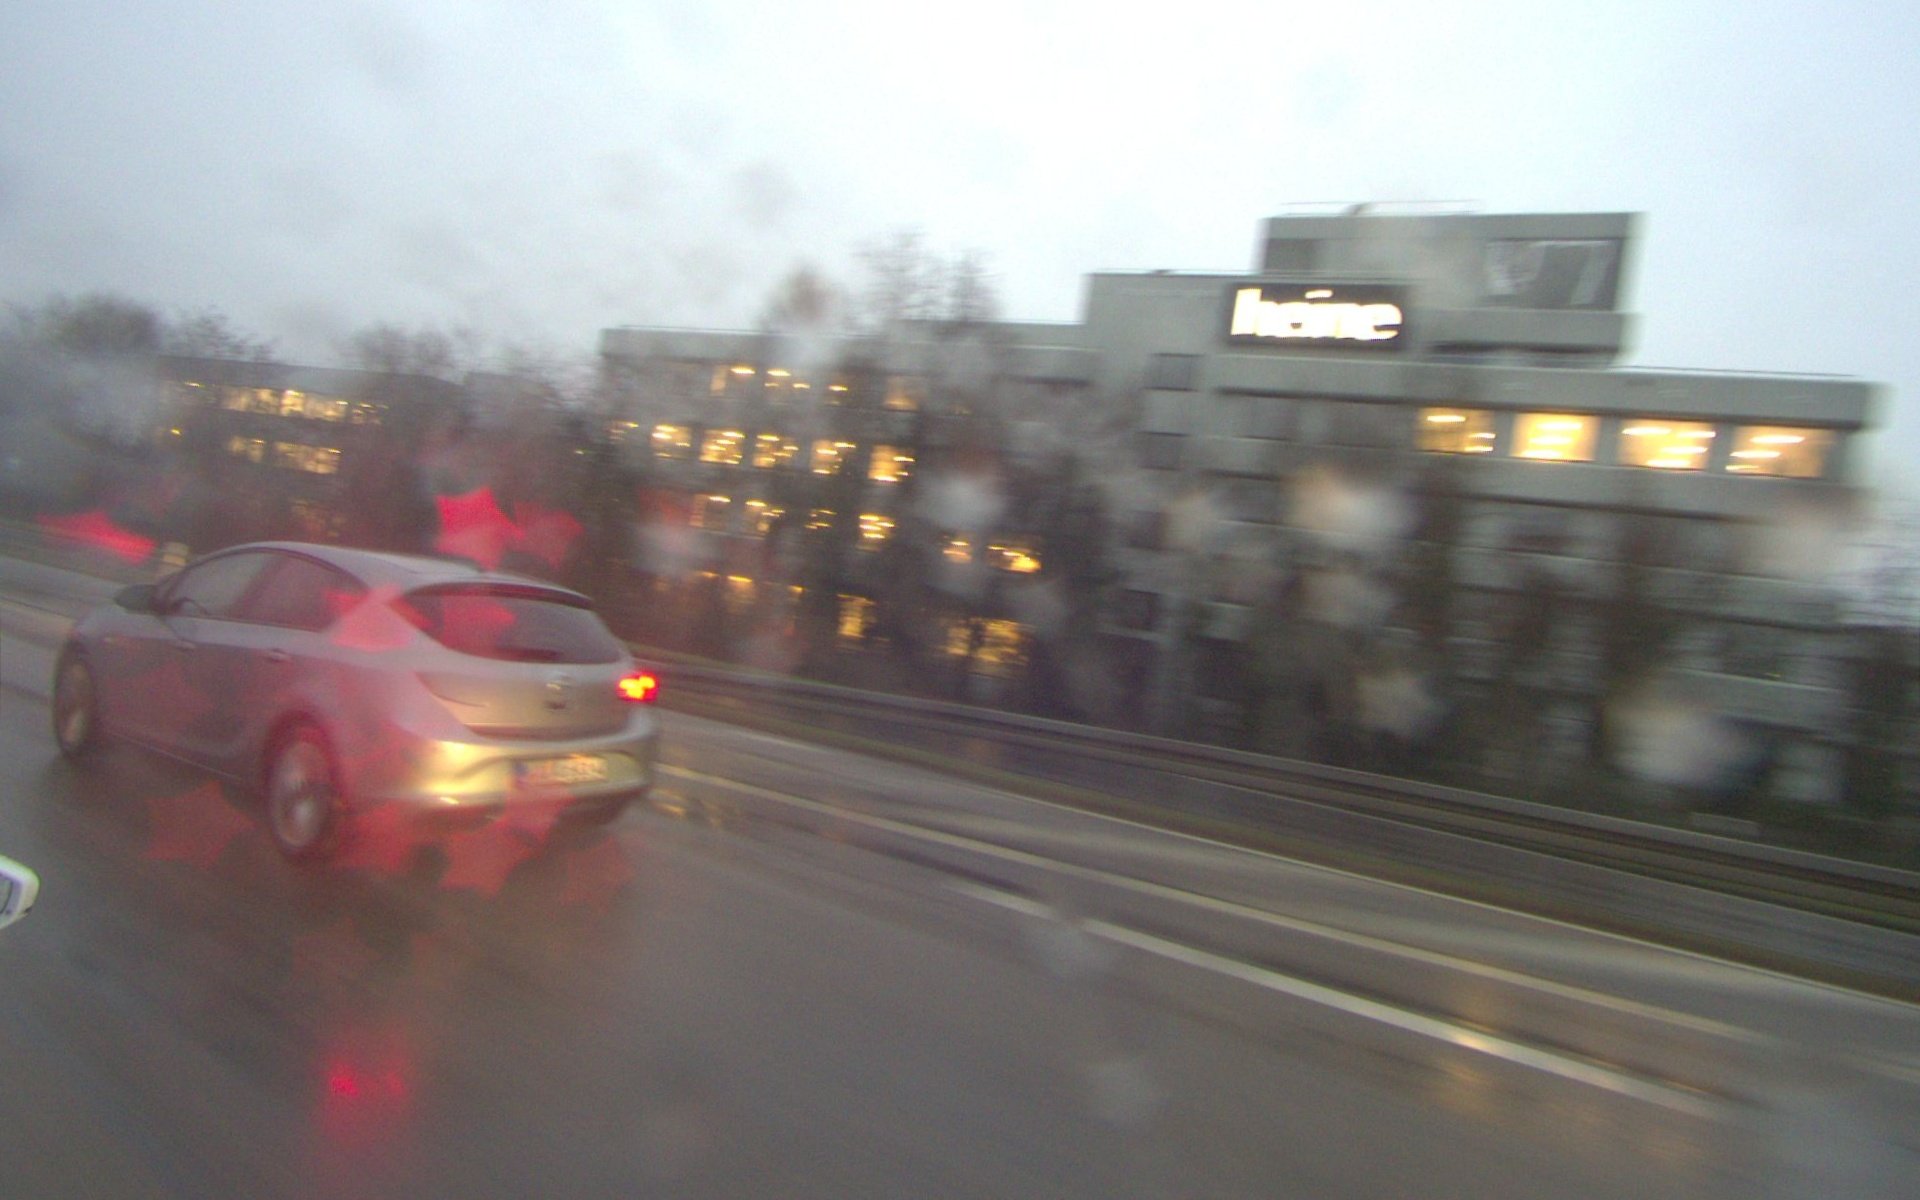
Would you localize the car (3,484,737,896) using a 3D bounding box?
[{"bbox_3d":[-3.622,0.341,6.023,4.190,1.519,1.854,7,-2,30],"label":"car"}]
